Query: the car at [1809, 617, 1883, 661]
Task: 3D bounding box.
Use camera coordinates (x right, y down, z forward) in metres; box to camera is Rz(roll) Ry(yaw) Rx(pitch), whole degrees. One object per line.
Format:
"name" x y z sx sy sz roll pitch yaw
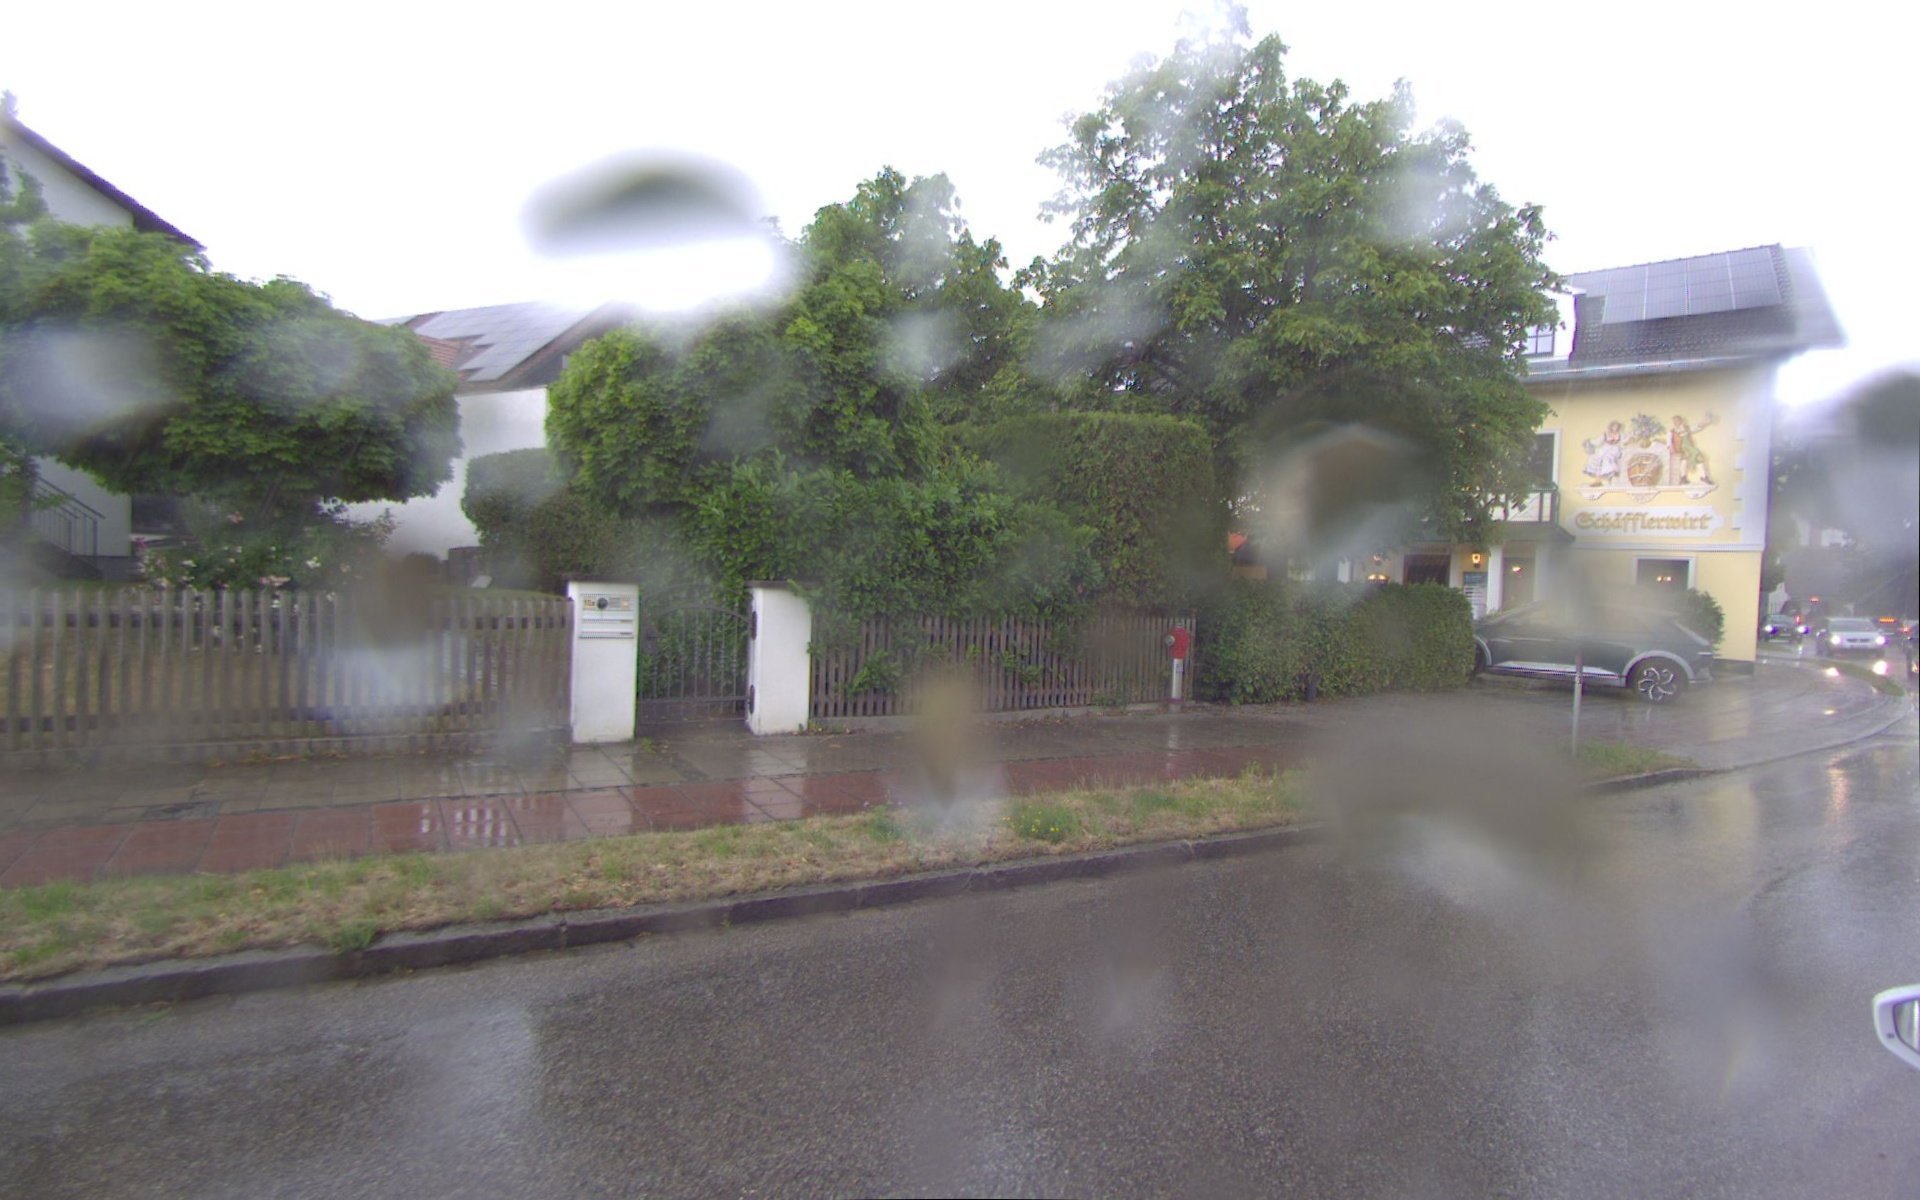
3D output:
"car" 37.100 1.613 42.140 1.729 1.700 3.990 0 -1 33

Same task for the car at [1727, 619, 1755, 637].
"car" 90.139 3.211 115.988 2.139 1.925 4.999 3 2 34

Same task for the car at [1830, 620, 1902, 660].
"car" 49.671 2.146 55.186 2.139 1.925 4.999 3 2 34

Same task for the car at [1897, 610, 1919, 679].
"car" 26.330 1.170 26.483 1.898 1.767 4.176 0 -1 37

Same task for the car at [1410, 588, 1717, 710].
"car" 10.701 0.762 18.091 4.413 1.589 1.834 6 5 32

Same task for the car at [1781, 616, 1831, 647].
"car" 61.023 2.248 72.535 2.139 1.925 4.999 3 2 34

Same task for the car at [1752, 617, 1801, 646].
"car" 47.473 1.805 58.460 1.563 1.631 3.534 1 -1 28
